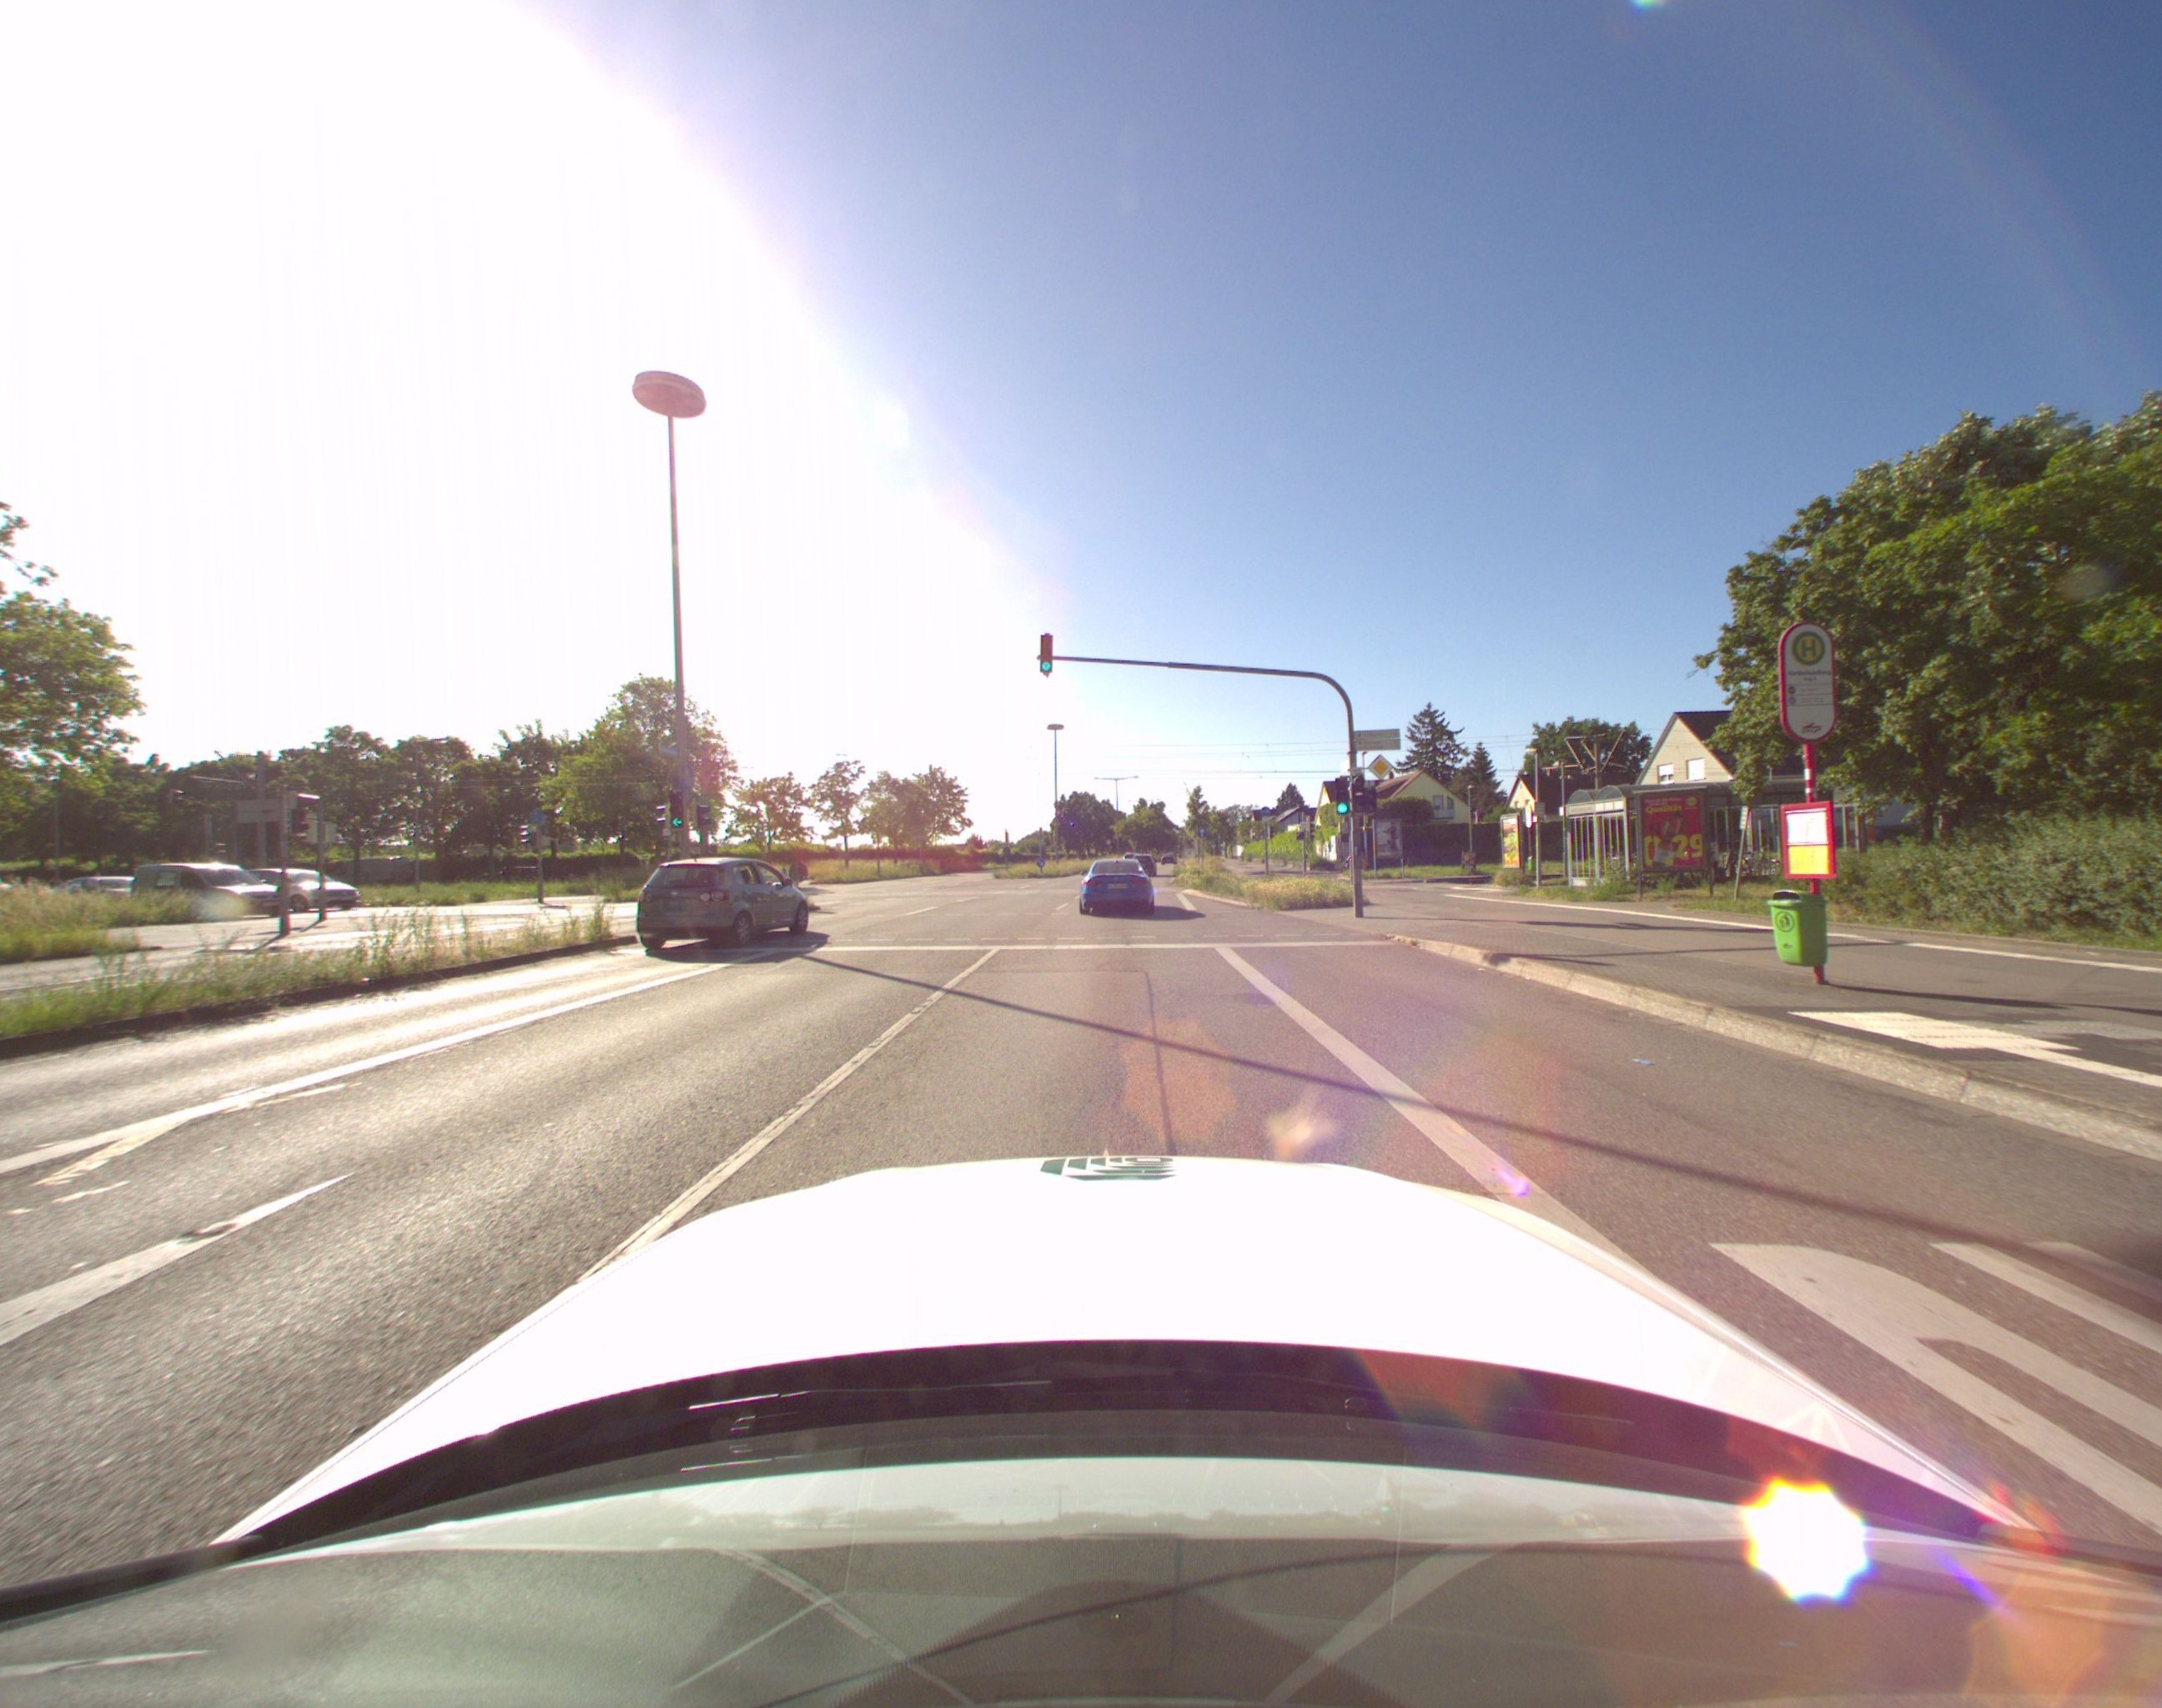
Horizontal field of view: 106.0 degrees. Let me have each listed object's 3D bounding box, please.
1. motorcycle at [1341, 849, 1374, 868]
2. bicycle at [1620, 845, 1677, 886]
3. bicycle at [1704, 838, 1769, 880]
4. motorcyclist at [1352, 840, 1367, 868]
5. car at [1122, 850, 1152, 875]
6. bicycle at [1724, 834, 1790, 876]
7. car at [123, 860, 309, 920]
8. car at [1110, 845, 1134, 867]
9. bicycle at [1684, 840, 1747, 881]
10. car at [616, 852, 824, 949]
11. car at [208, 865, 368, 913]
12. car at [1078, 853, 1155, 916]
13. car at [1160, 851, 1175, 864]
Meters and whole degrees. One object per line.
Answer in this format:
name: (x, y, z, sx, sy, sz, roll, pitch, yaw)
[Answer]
motorcycle: (16.127, 0.257, 47.477, 1.746, 1.071, 0.452, -3, 0, 8)
bicycle: (16.472, 0.364, 23.691, 0.428, 1.068, 1.787, -4, -5, 4)
bicycle: (19.013, 0.173, 23.670, 0.428, 1.068, 1.787, -4, -5, 4)
motorcyclist: (16.225, 0.008, 47.465, 0.689, 1.558, 0.701, -3, 0, 8)
car: (3.866, 0.553, 55.672, 1.906, 1.579, 4.188, -1, 0, 5)
bicycle: (19.593, 0.062, 23.655, 0.428, 1.068, 1.787, -4, -5, 4)
car: (-27.518, 1.107, 25.997, 3.974, 1.754, 1.778, -1, 0, 0)
car: (3.948, 0.173, 77.675, 1.782, 2.013, 4.010, -1, 0, 9)
bicycle: (18.458, 0.206, 23.731, 0.428, 1.068, 1.787, -4, -5, 4)
car: (-6.651, 0.761, 15.627, 1.834, 1.570, 4.390, -1, 0, 3)
car: (-28.486, 1.222, 29.346, 3.900, 1.560, 1.852, -1, 0, 0)
car: (0.911, 0.739, 21.856, 1.832, 1.474, 4.186, -1, 0, 1)
car: (11.114, 0.466, 104.389, 1.651, 1.579, 3.817, -1, 0, 8)
